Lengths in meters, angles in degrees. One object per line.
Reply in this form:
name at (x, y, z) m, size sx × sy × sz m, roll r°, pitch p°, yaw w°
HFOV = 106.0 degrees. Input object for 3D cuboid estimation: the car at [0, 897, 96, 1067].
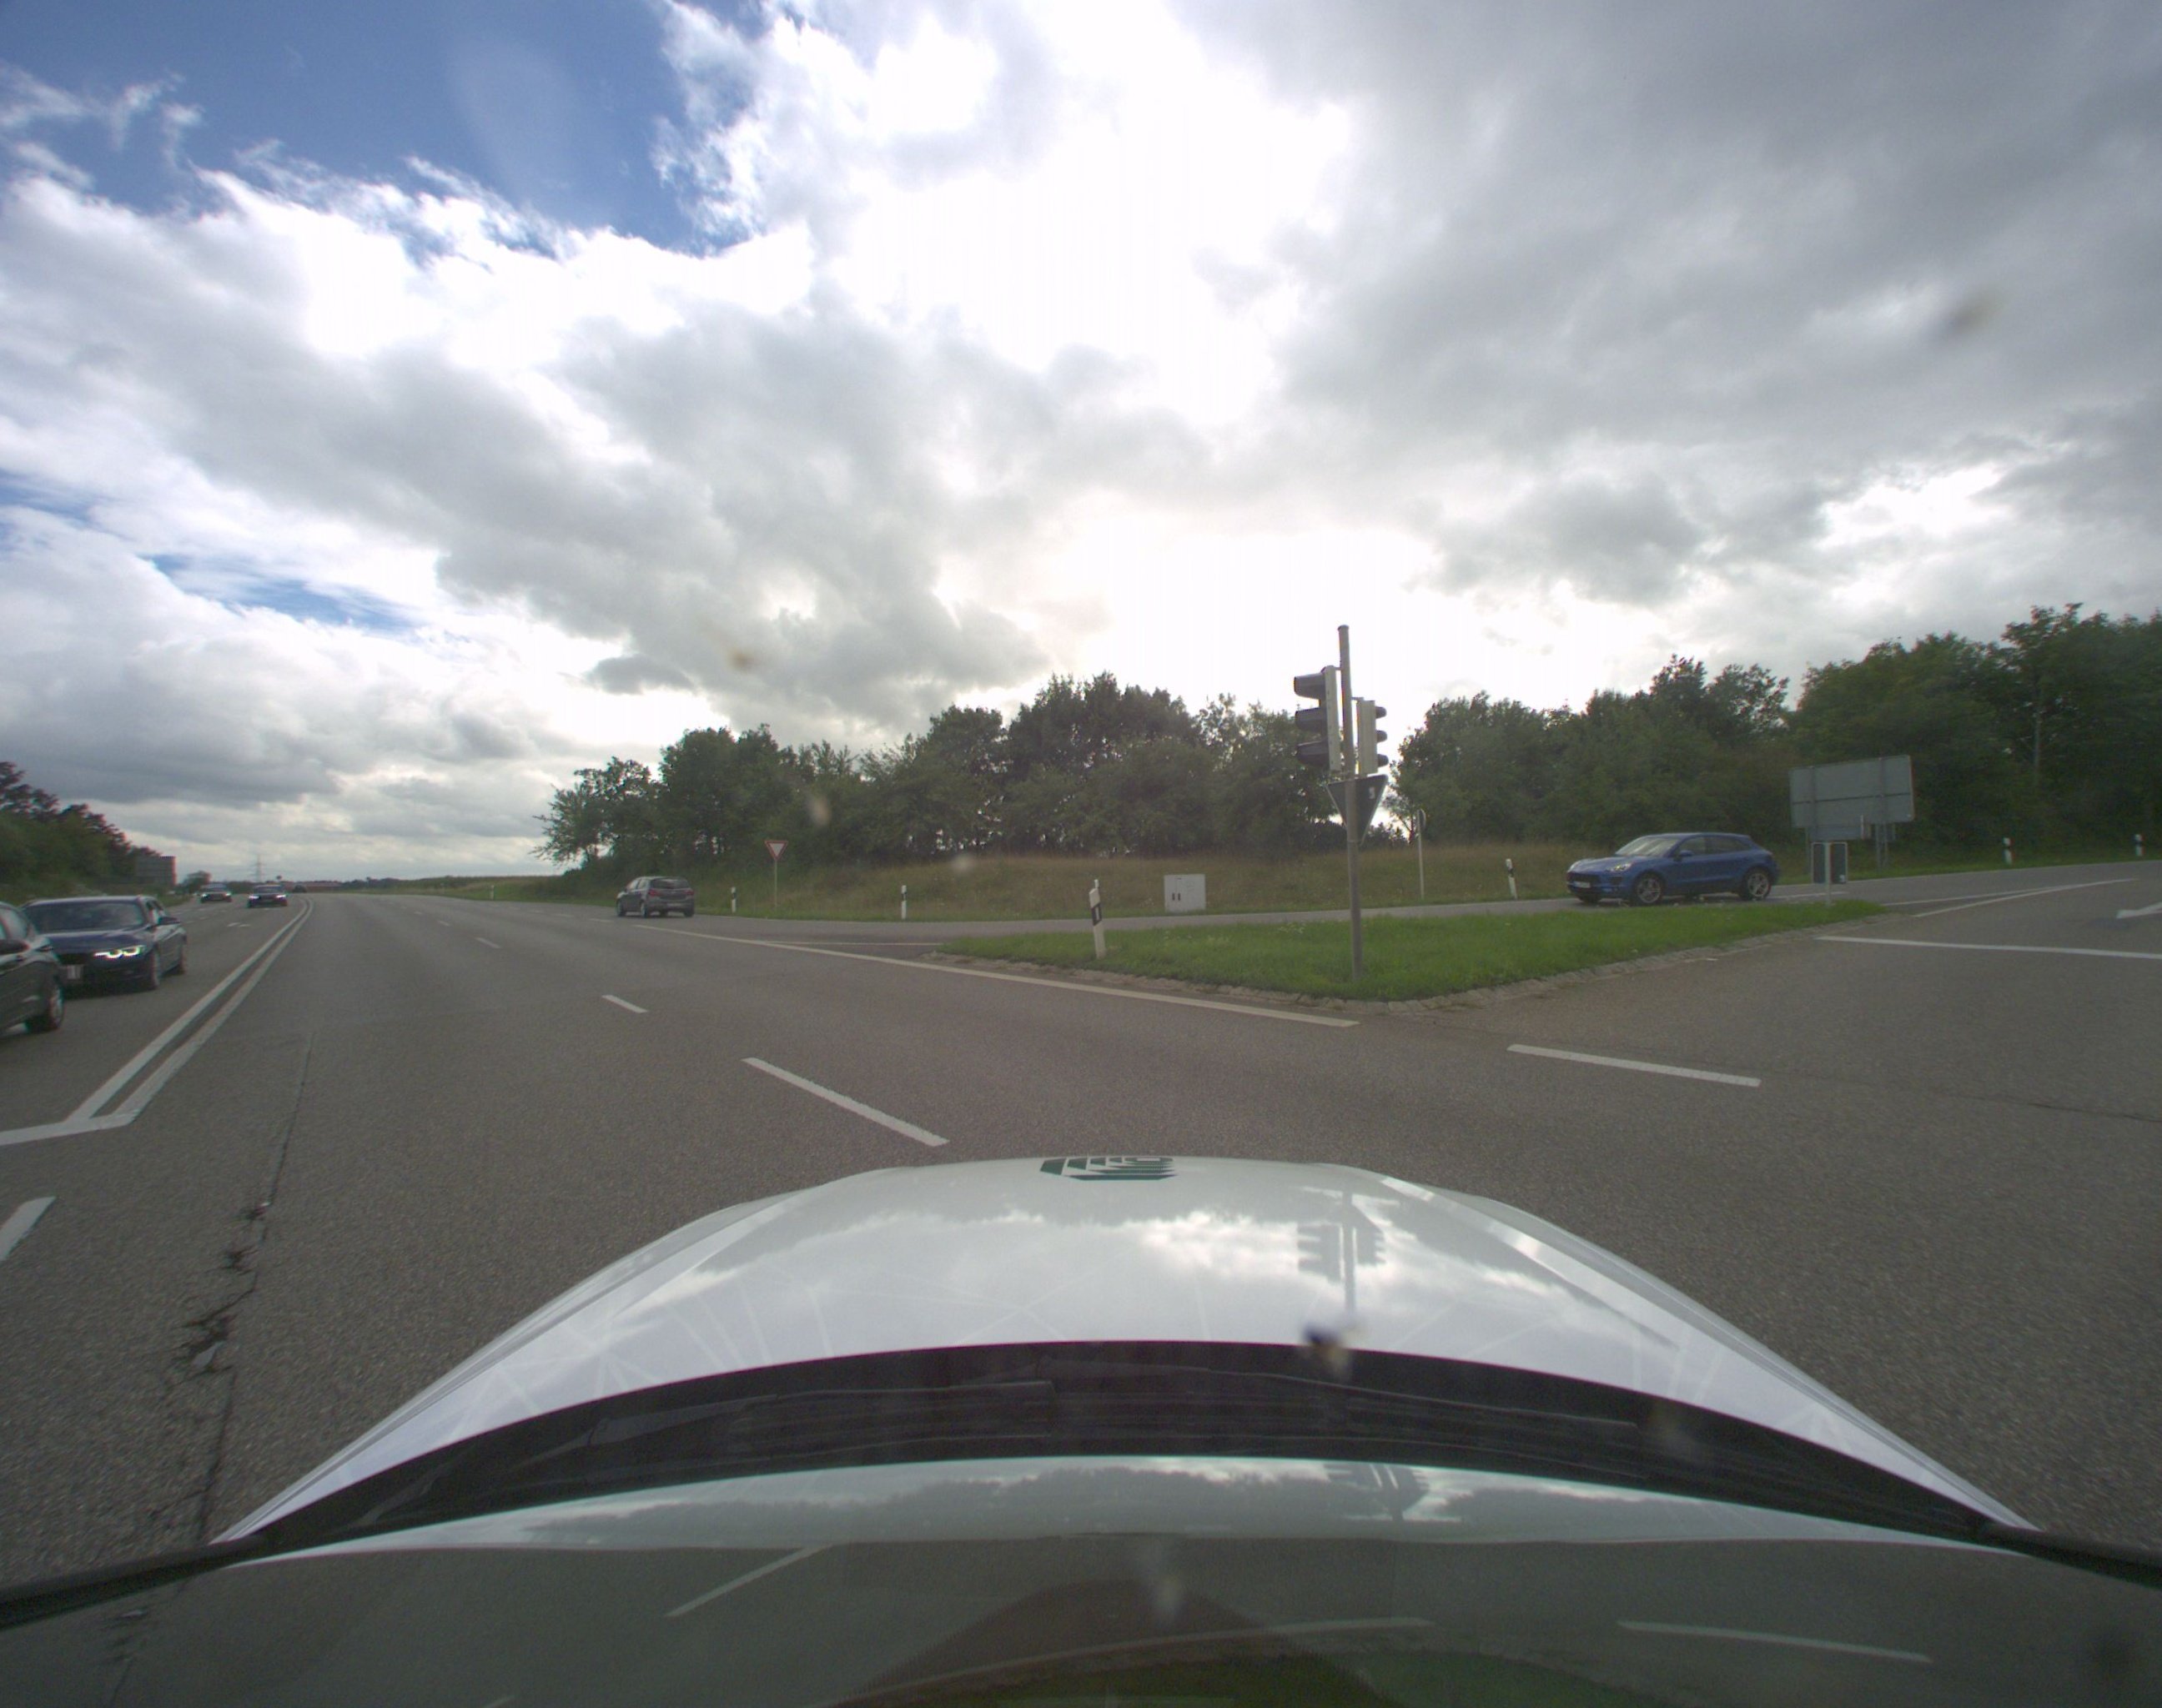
car at (-11.082, 1.202, 7.626) m, size 1.741 × 1.443 × 3.896 m, roll -1°, pitch 0°, yaw -41°

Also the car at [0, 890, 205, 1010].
car at (-15.752, 1.392, 12.953) m, size 2.067 × 1.484 × 4.822 m, roll -2°, pitch 0°, yaw -43°

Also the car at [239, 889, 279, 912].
car at (-54.811, 3.077, 54.345) m, size 1.781 × 1.383 × 4.487 m, roll -1°, pitch -1°, yaw -44°

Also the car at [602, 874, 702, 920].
car at (-15.699, 1.527, 29.730) m, size 3.949 × 1.535 × 2.012 m, roll -2°, pitch -2°, yaw 43°

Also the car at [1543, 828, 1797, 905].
car at (13.705, 0.276, 19.089) m, size 4.737 × 1.570 × 1.995 m, roll -2°, pitch -1°, yaw -8°

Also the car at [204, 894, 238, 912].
car at (-78.715, 4.480, 74.570) m, size 4.930 × 1.494 × 2.012 m, roll -2°, pitch -1°, yaw 45°
